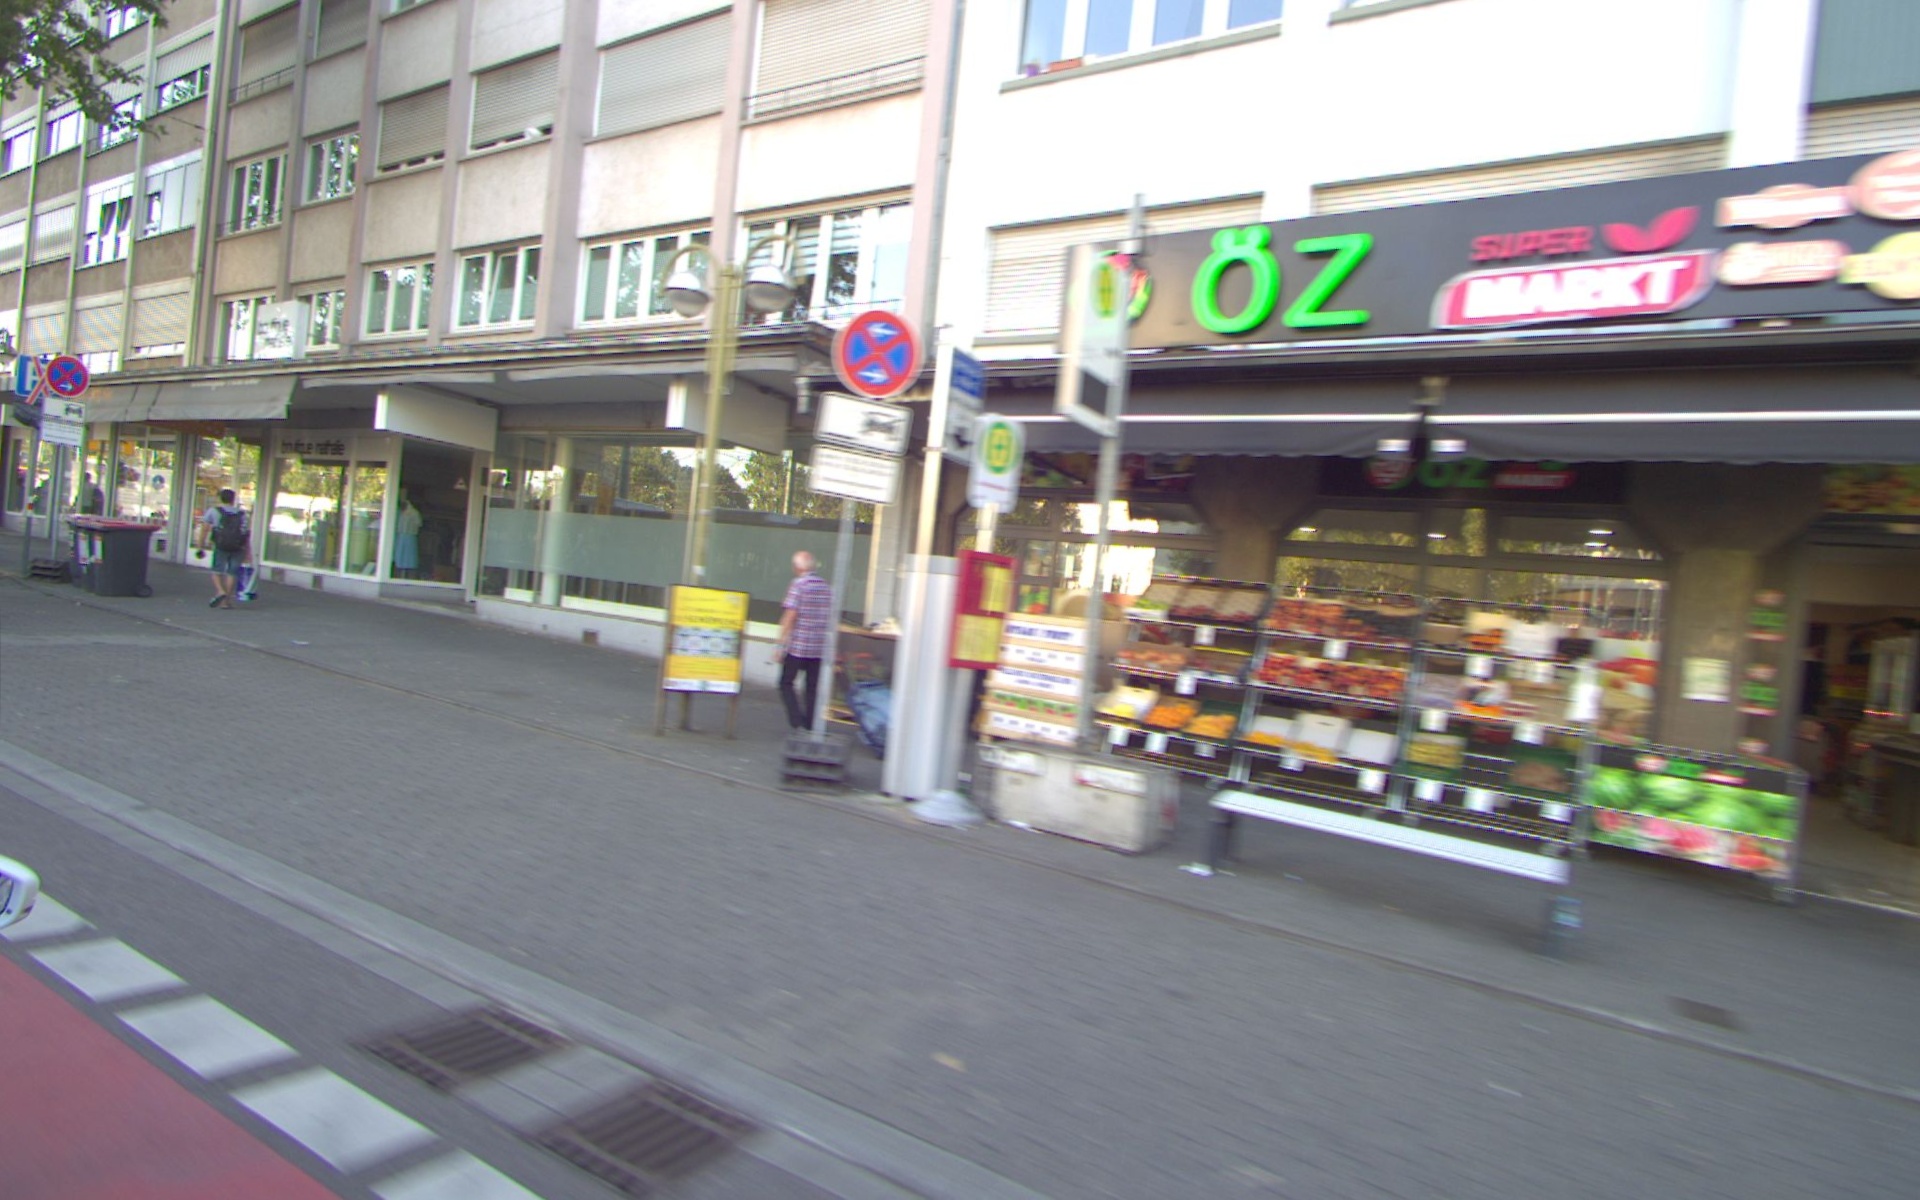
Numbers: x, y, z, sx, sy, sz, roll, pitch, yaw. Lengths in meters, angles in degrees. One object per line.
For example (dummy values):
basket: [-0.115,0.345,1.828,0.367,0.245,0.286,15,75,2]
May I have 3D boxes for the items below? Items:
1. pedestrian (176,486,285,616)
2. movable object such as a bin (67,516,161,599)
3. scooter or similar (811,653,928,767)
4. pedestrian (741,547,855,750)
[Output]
pedestrian: [-10.214,-0.679,14.084,0.973,1.695,0.843,7,3,31]
movable object such as a bin: [-12.262,-0.615,14.579,1.207,1.090,0.674,7,3,32]
scooter or similar: [-0.778,0.930,8.651,0.721,0.854,0.576,7,0,32]
pedestrian: [-1.424,0.425,8.830,0.641,1.694,0.550,6,1,-36]
